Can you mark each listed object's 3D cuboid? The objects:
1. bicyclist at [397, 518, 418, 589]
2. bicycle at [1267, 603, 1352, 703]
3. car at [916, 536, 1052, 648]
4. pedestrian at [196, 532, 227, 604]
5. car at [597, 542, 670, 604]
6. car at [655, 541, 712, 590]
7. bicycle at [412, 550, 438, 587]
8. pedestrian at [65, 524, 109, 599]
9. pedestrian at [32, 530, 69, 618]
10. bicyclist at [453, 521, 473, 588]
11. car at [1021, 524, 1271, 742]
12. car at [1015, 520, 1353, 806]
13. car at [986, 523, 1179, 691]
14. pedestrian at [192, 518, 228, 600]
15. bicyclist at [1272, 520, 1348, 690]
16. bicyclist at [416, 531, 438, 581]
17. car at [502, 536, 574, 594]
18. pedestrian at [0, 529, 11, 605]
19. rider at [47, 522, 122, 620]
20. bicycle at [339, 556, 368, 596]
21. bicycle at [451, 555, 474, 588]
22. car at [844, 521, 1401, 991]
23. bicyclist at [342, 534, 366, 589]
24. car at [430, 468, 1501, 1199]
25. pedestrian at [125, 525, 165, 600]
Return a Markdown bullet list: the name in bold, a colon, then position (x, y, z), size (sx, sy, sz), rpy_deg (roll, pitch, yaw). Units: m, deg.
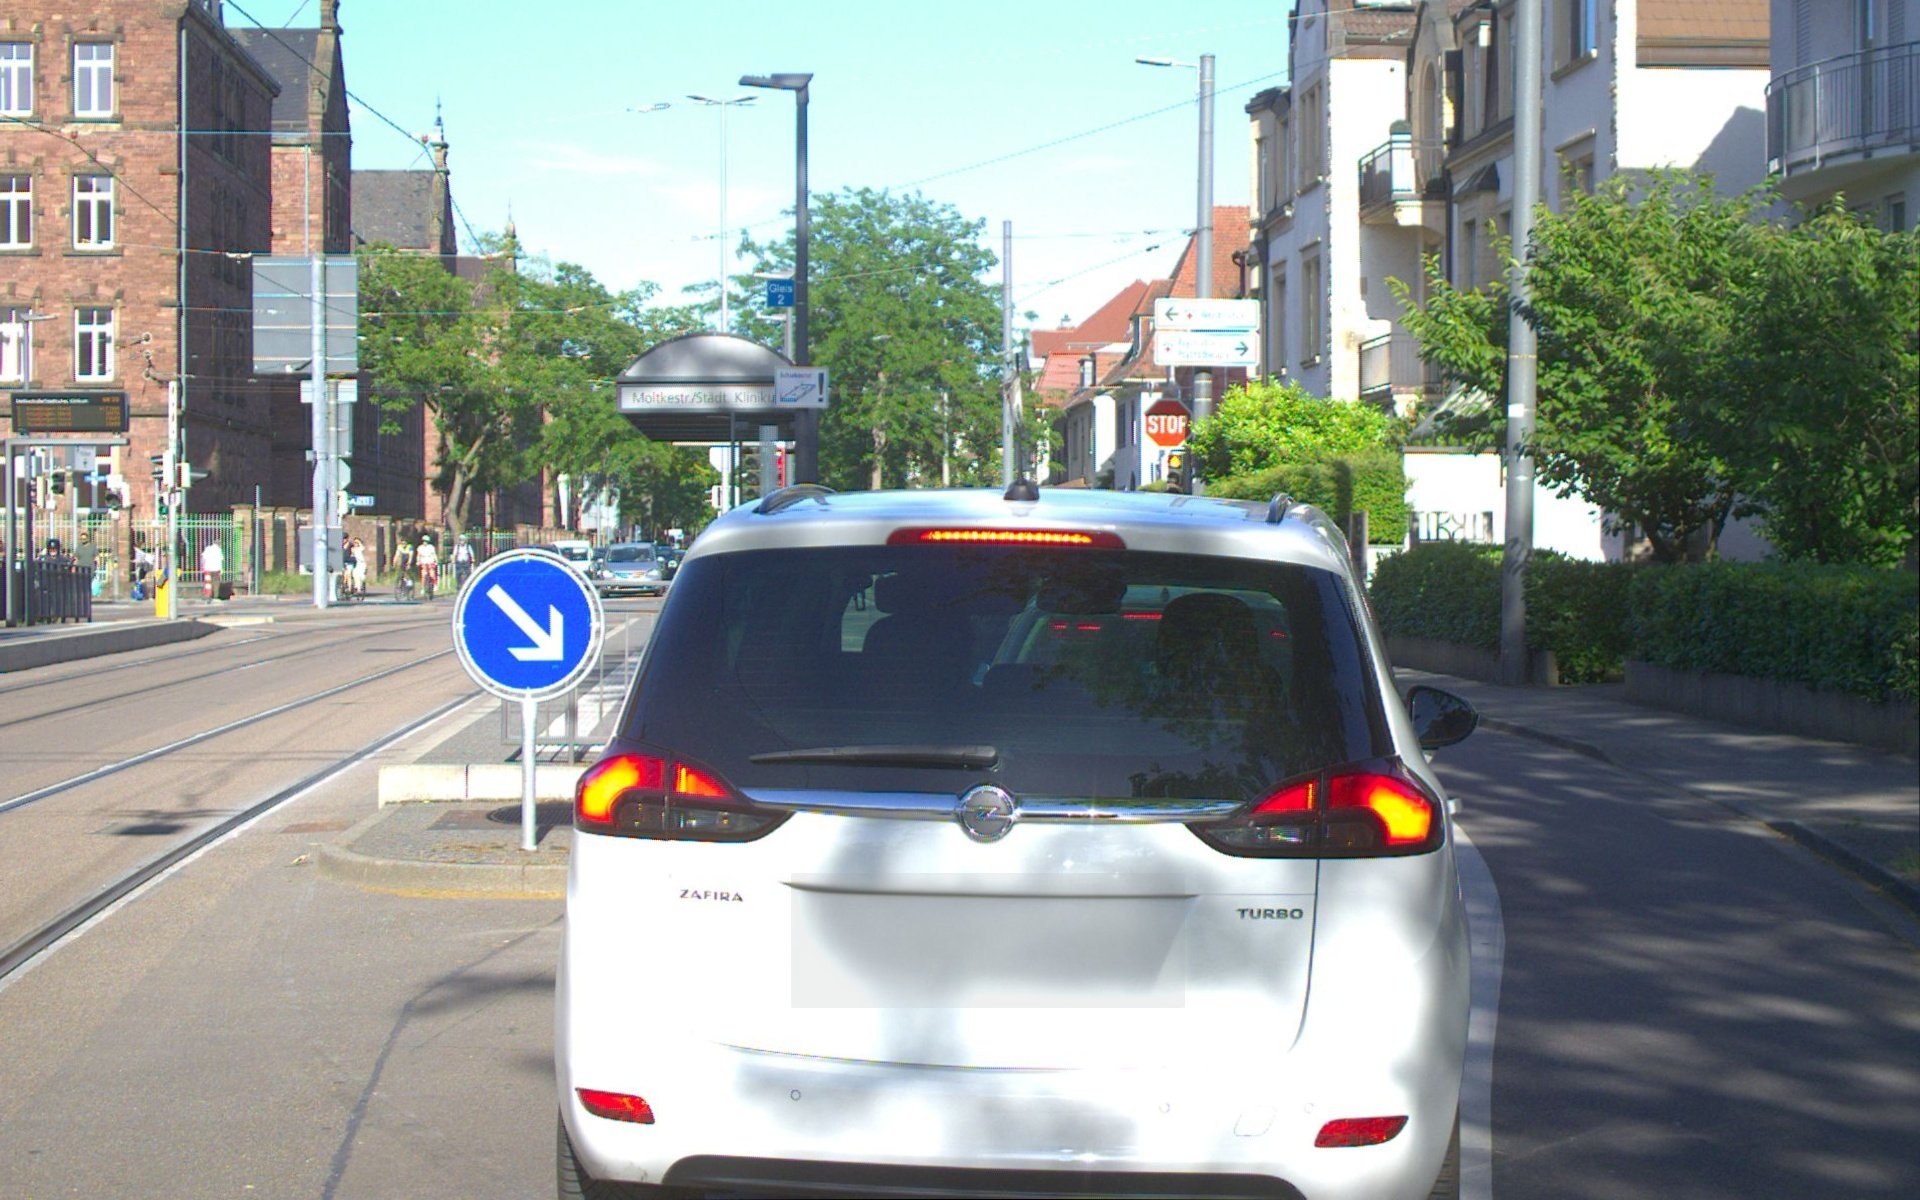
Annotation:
- **bicyclist**: position (-15.660, -1.319, 97.452), size (0.498, 2.007, 0.572), rpy_deg (1, 0, -1)
- **bicycle**: position (3.437, 0.508, 33.905), size (0.676, 0.922, 1.885), rpy_deg (0, 1, 1)
- **car**: position (0.331, -0.154, 53.081), size (1.907, 1.656, 4.001), rpy_deg (0, 1, -2)
- **pedestrian**: position (-20.843, -0.892, 95.752), size (0.689, 2.007, 0.617), rpy_deg (1, 0, 3)
- **car**: position (-9.360, -0.780, 98.772), size (1.746, 1.710, 4.000), rpy_deg (1, 1, -1)
- **car**: position (-9.911, -1.248, 123.538), size (1.746, 1.710, 4.000), rpy_deg (1, 1, -1)
- **bicycle**: position (-15.956, -0.945, 102.639), size (0.509, 1.073, 1.739), rpy_deg (1, 1, -1)
- **pedestrian**: position (-22.365, -0.990, 88.093), size (0.808, 1.894, 0.743), rpy_deg (1, 0, 14)
- **pedestrian**: position (-20.929, -0.605, 79.091), size (0.794, 2.007, 1.047), rpy_deg (1, 0, -15)
- **bicyclist**: position (-14.827, -1.358, 102.542), size (0.488, 2.007, 0.502), rpy_deg (1, 0, -1)
- **car**: position (1.562, 0.216, 28.266), size (1.907, 1.656, 4.000), rpy_deg (0, 1, 4)
- **car**: position (1.499, 0.318, 21.606), size (1.907, 1.619, 3.999), rpy_deg (0, 1, 7)
- **car**: position (1.238, 0.034, 36.103), size (1.907, 1.656, 4.000), rpy_deg (0, 1, 1)
- **pedestrian**: position (-18.539, -1.010, 84.964), size (0.794, 2.007, 0.721), rpy_deg (1, 0, -17)
- **bicyclist**: position (3.444, 0.041, 33.879), size (0.676, 1.652, 0.745), rpy_deg (0, 1, 1)
- **bicyclist**: position (-15.942, -1.316, 102.818), size (0.531, 1.472, 0.572), rpy_deg (1, 0, -1)
- **car**: position (-12.949, -1.080, 105.658), size (1.746, 1.710, 4.000), rpy_deg (1, 1, -1)
- **pedestrian**: position (-22.538, -0.769, 80.143), size (0.766, 1.768, 0.721), rpy_deg (1, 0, -17)
- **rider**: position (-16.276, -0.547, 63.979), size (0.795, 1.776, 2.488), rpy_deg (1, 1, -2)
- **bicycle**: position (-16.617, -0.650, 94.246), size (0.509, 1.073, 1.739), rpy_deg (1, 1, -1)
- **bicycle**: position (-14.834, -0.845, 102.551), size (0.487, 0.968, 1.405), rpy_deg (1, 1, 0)
- **car**: position (0.779, 0.492, 13.766), size (1.907, 1.592, 3.999), rpy_deg (0, 1, 7)
- **bicyclist**: position (-16.609, -1.055, 94.260), size (0.531, 1.472, 0.572), rpy_deg (1, 0, -1)
- **car**: position (0.223, 0.558, 8.083), size (1.907, 1.656, 3.999), rpy_deg (0, 1, 7)
- **pedestrian**: position (-22.255, -1.021, 93.850), size (0.719, 2.007, 0.796), rpy_deg (1, 0, 23)
